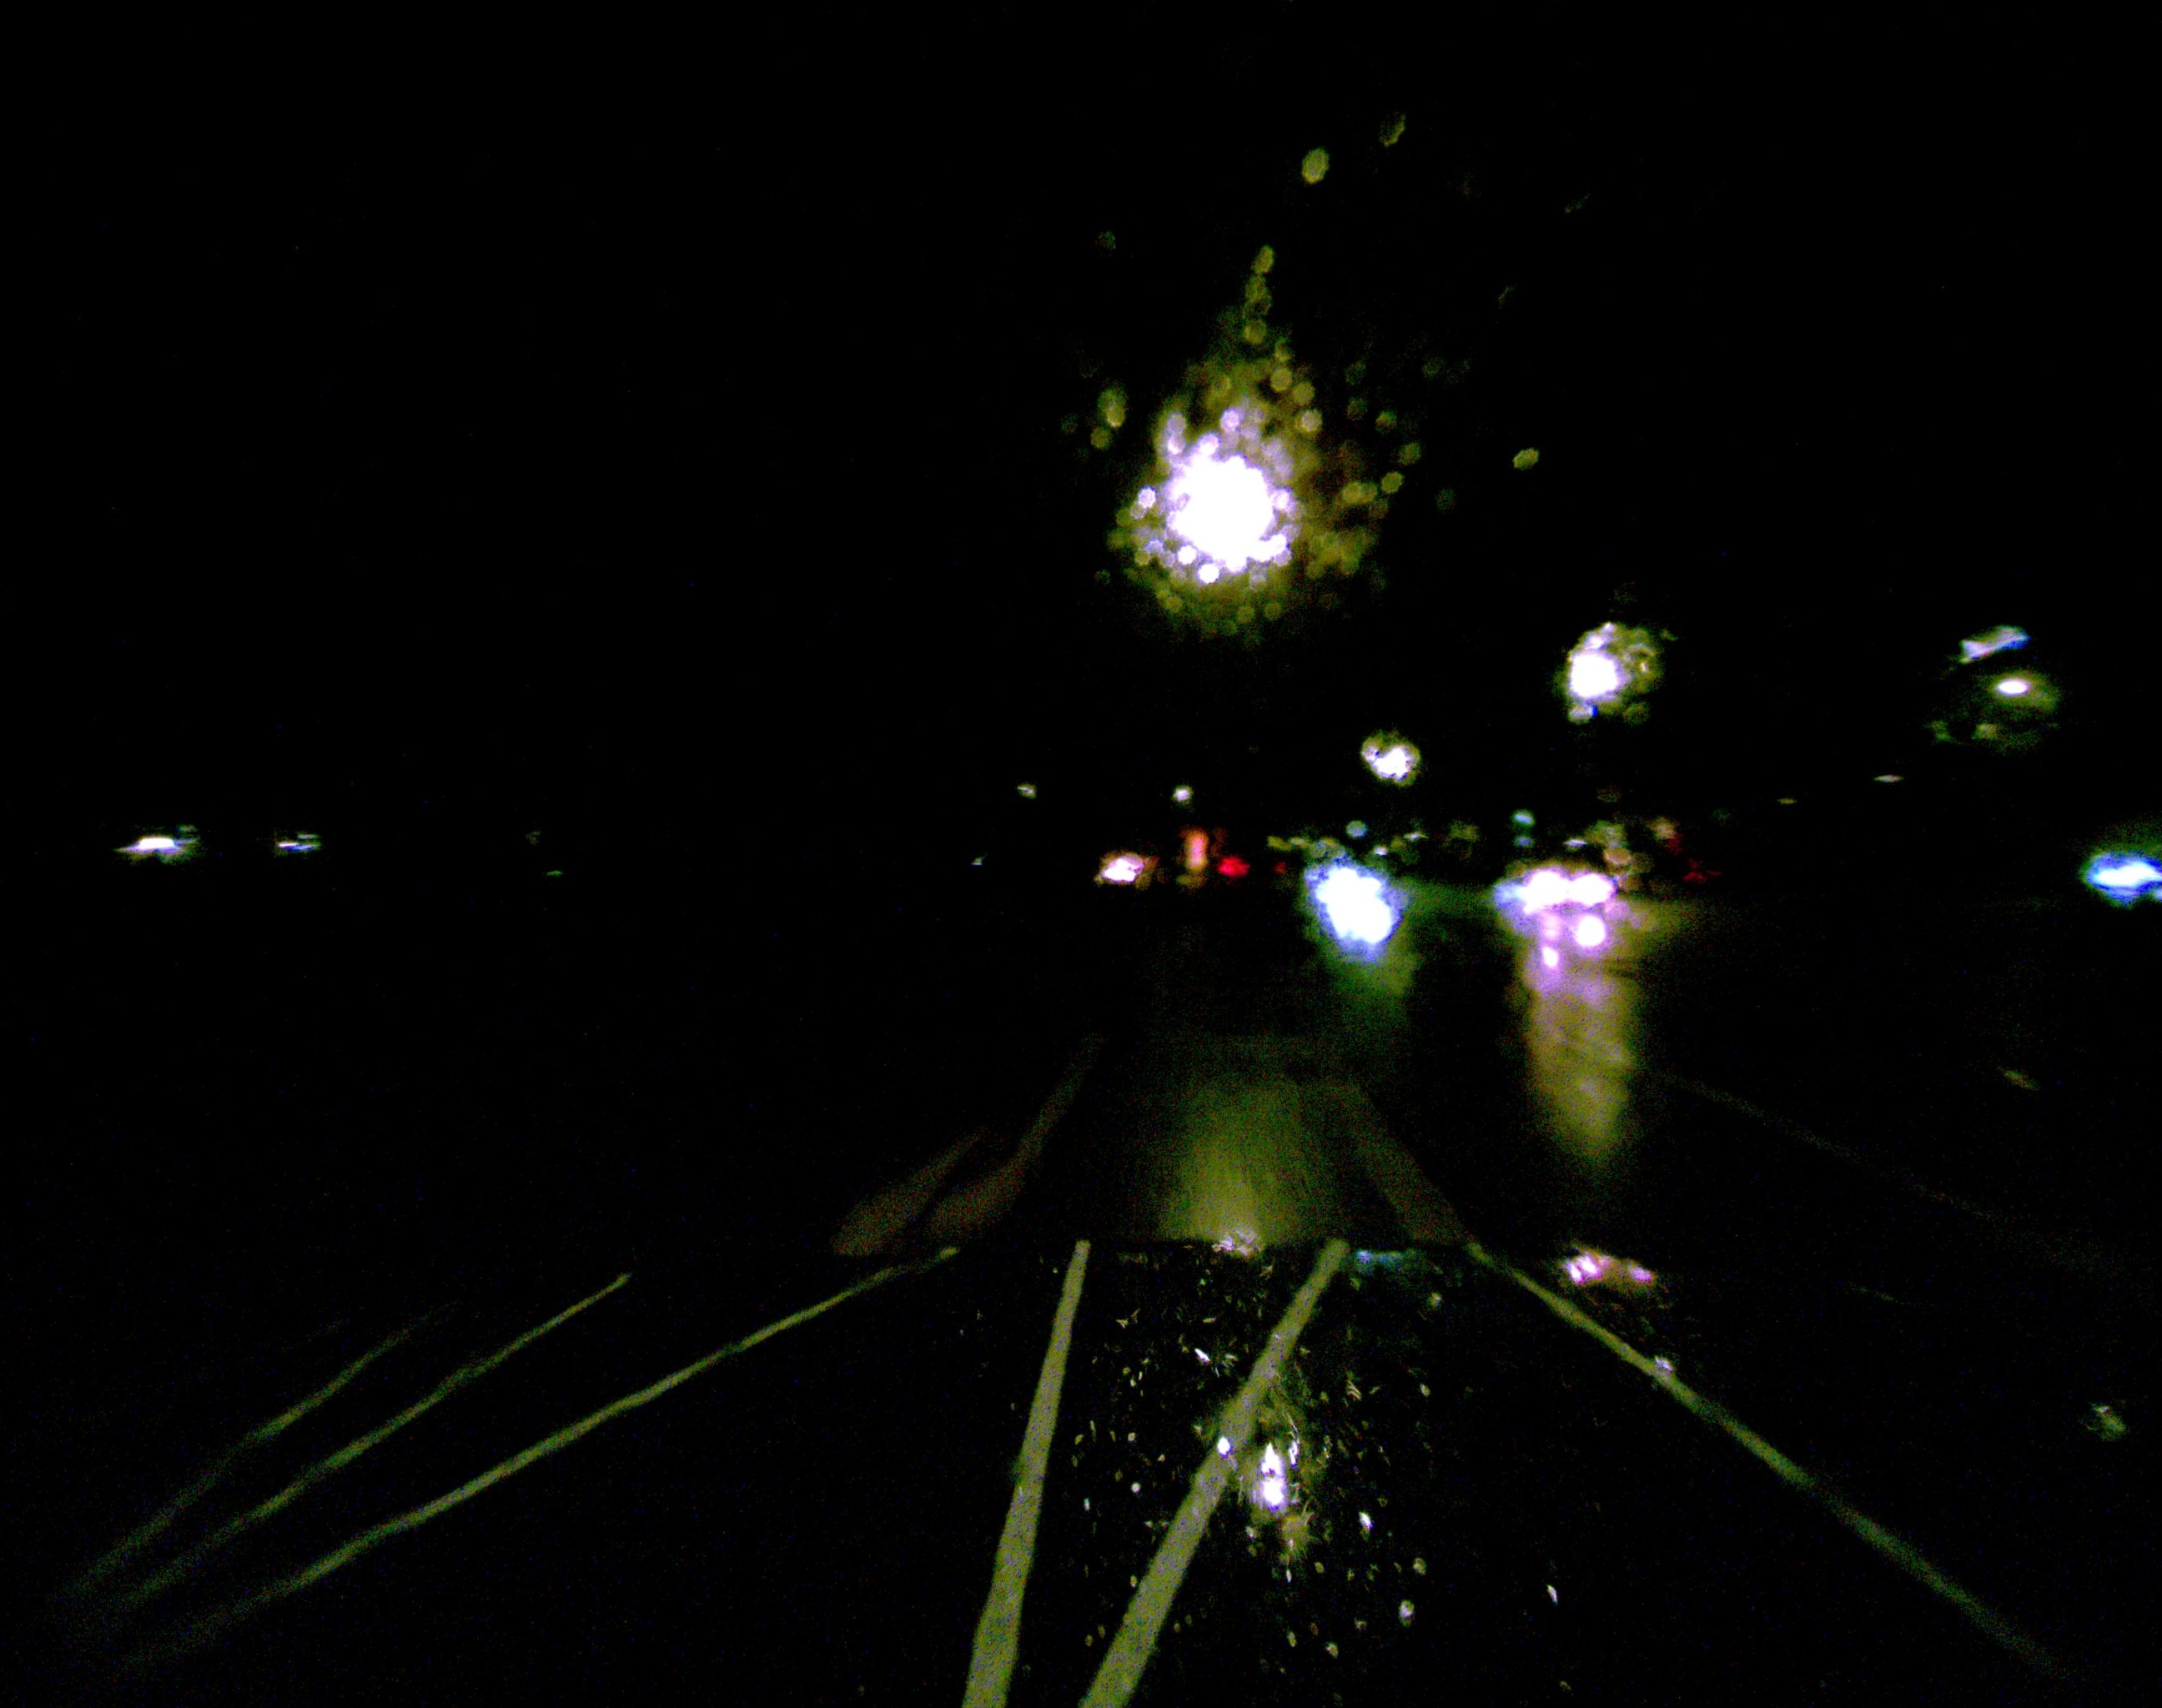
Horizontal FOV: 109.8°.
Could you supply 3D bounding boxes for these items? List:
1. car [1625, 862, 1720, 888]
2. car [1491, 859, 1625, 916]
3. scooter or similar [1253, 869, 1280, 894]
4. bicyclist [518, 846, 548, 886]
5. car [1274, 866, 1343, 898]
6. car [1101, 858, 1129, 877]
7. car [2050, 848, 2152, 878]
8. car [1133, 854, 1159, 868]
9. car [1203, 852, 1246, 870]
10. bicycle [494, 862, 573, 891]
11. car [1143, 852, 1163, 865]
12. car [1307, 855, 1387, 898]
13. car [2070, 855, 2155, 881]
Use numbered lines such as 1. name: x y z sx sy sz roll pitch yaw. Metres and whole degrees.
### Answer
1. car: 33.802 1.158 43.487 1.833 1.365 3.937 -2 1 -38
2. car: 14.746 0.962 23.850 1.832 1.518 4.878 -1 1 10
3. scooter or similar: 8.076 1.193 33.046 1.103 1.091 0.318 1 1 10
4. bicyclist: -19.782 0.431 27.439 0.605 1.439 0.617 -1 1 4
5. car: 13.295 1.596 44.726 1.836 1.696 4.187 -1 1 -18
6. car: 2.970 1.172 67.457 1.670 1.494 3.749 -1 1 -10
7. car: 74.851 0.623 55.886 1.997 2.002 4.425 -1 1 9
8. car: 8.776 0.930 102.919 2.071 1.706 5.034 -1 1 -13
9. car: 14.653 0.710 77.728 2.064 1.722 5.123 -1 1 -18
10. bicycle: -19.763 0.802 27.431 2.419 0.971 0.621 -1 1 2
11. car: 9.472 0.559 99.798 1.864 1.524 3.998 -1 1 -5
12. car: 11.727 0.952 33.866 1.950 1.709 4.441 -1 1 -1
13. car: 65.514 0.877 48.340 1.675 1.521 4.007 -1 1 29
